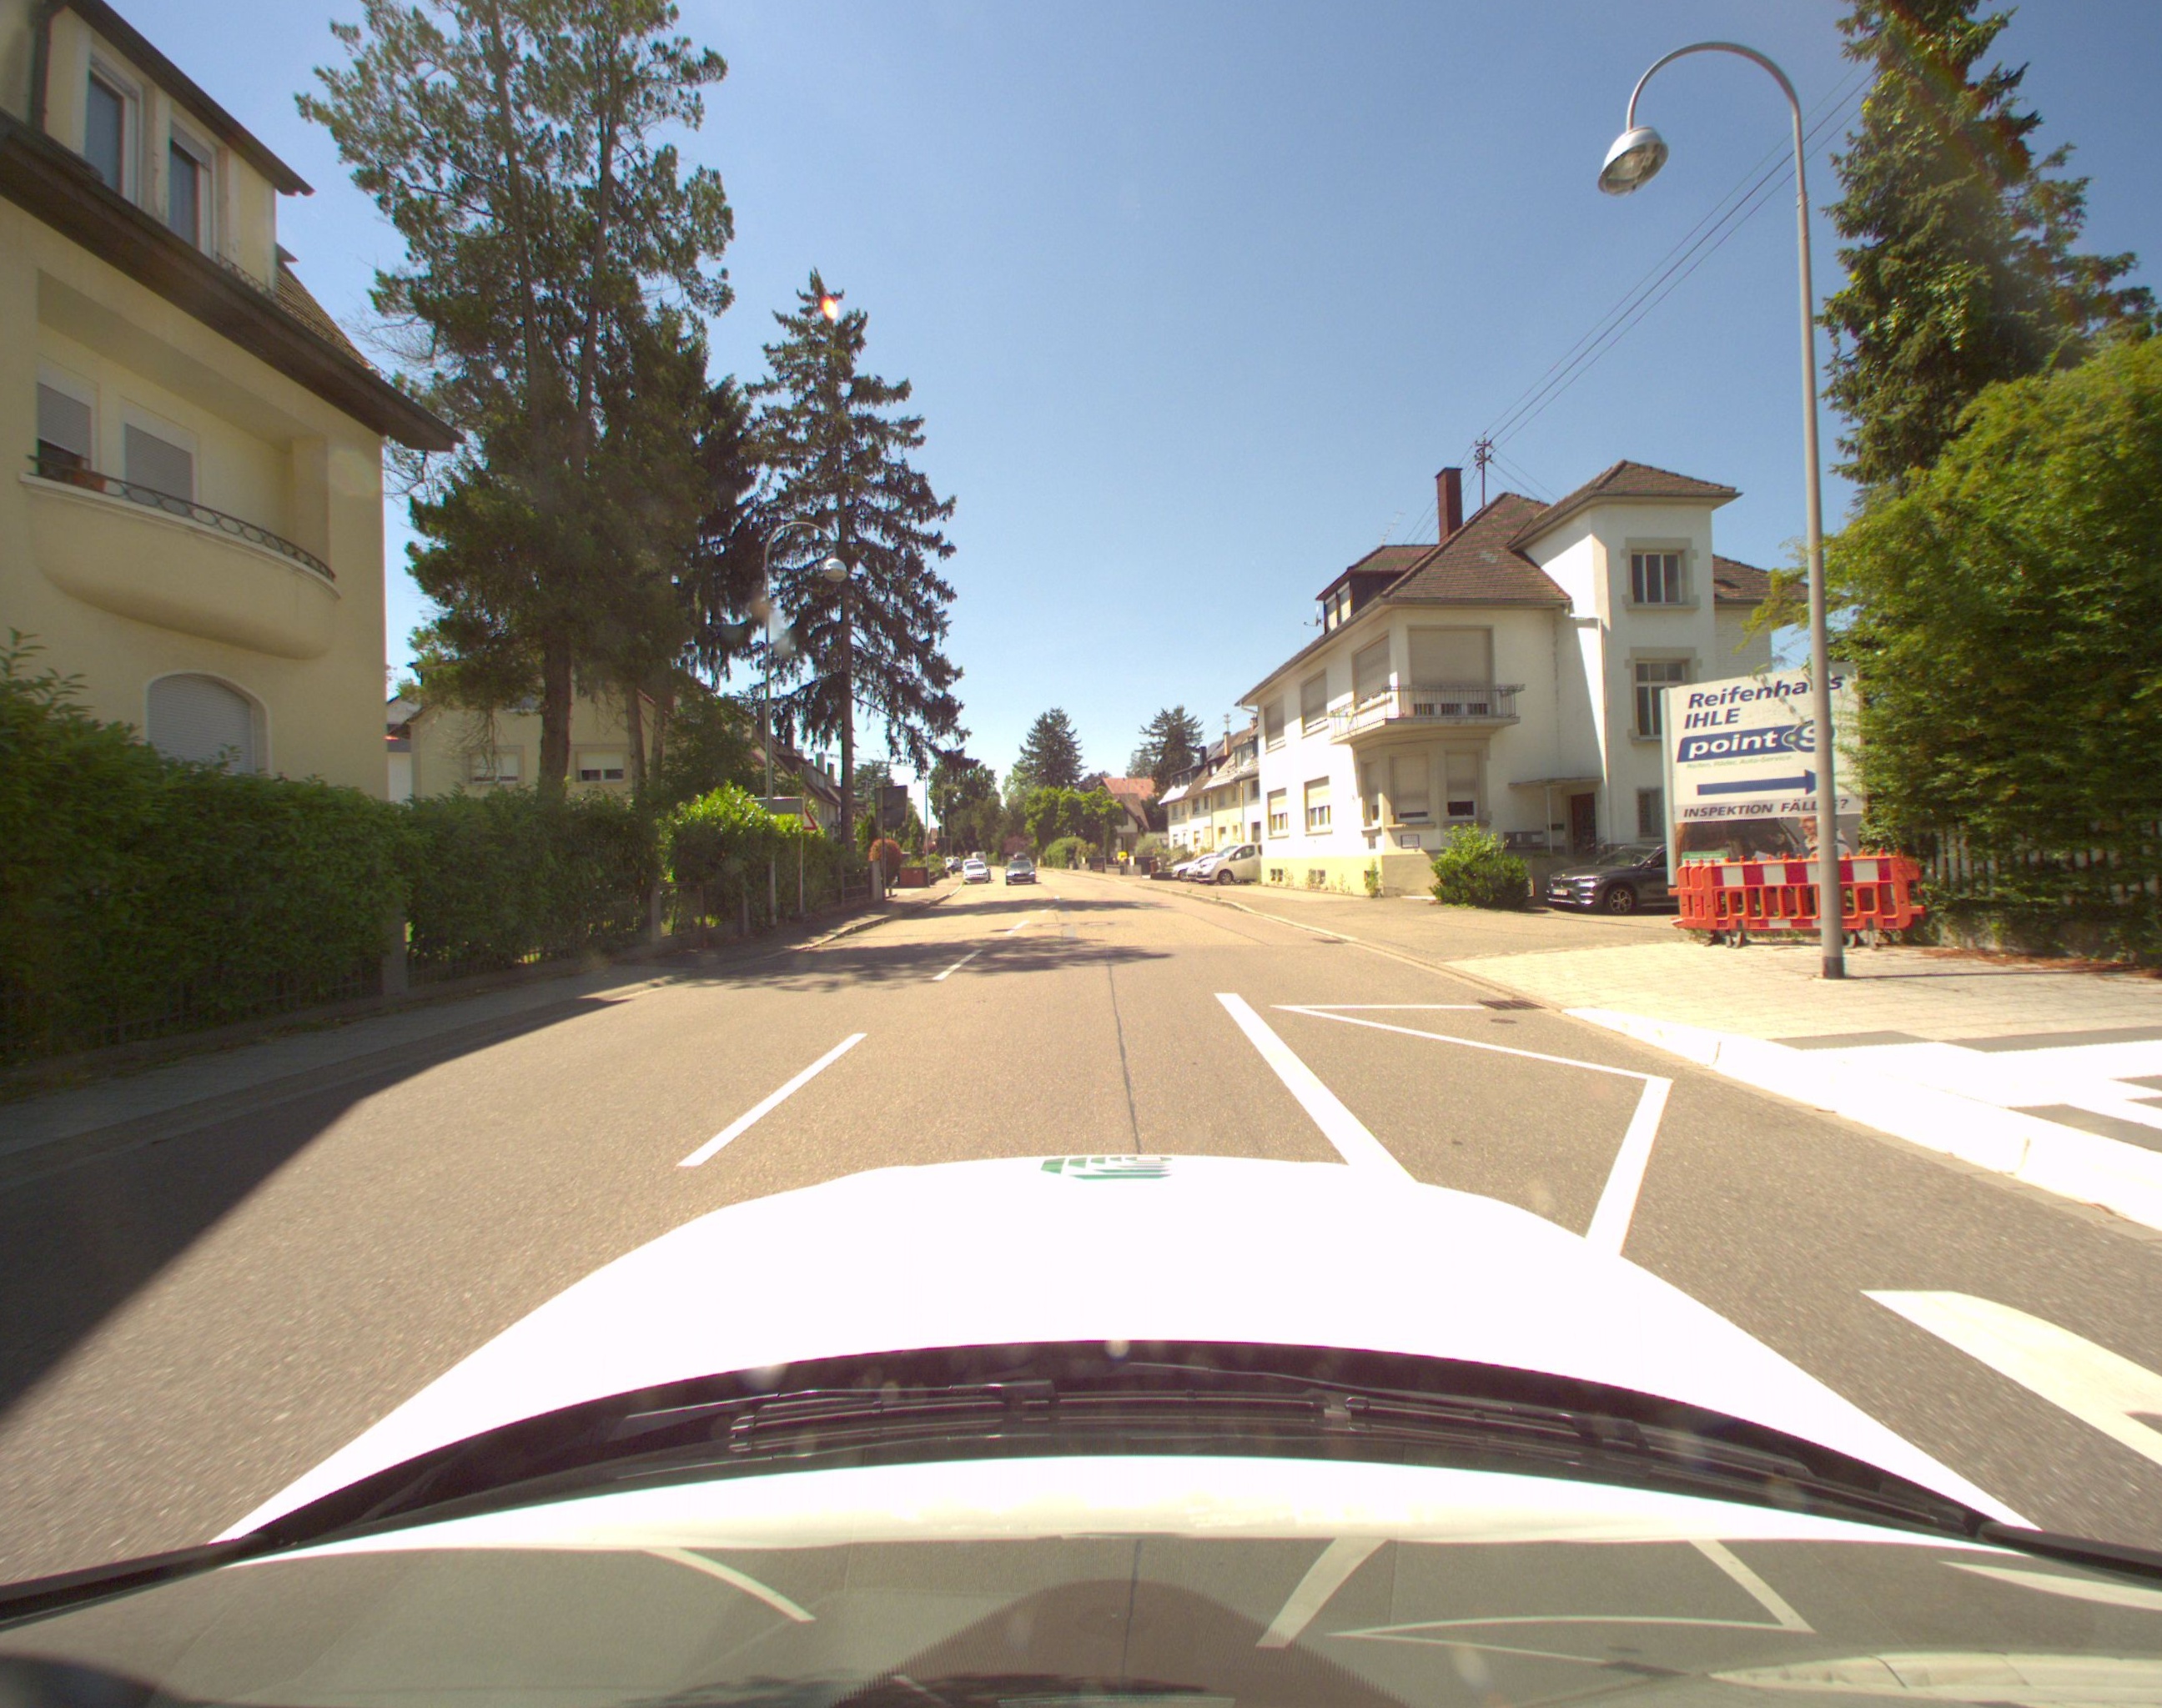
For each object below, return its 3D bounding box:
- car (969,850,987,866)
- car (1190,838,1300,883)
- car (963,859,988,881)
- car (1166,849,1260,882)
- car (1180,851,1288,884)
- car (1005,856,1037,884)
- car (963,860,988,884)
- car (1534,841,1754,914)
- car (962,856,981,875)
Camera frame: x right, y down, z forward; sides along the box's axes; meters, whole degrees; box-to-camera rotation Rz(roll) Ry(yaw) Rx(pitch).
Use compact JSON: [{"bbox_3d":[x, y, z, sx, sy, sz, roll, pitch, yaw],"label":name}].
[{"bbox_3d":[-16.379,0.667,128.984,2.147,2.315,4.827,-3,1,-15],"label":"car"},{"bbox_3d":[7.064,0.289,35.164,4.296,1.831,1.731,1,0,-14],"label":"car"},{"bbox_3d":[-8.097,1.212,62.638,1.768,1.438,4.351,-4,0,-7],"label":"car"},{"bbox_3d":[6.596,0.570,40.731,4.251,1.548,1.766,0,-2,26],"label":"car"},{"bbox_3d":[7.066,0.617,37.825,4.631,1.409,1.766,1,0,-5],"label":"car"},{"bbox_3d":[-3.577,0.944,49.028,1.802,1.488,4.381,-3,0,-4],"label":"car"},{"bbox_3d":[-7.340,1.229,56.646,1.577,1.423,3.931,-4,0,-7],"label":"car"},{"bbox_3d":[13.000,0.530,18.958,3.978,1.592,1.796,0,-1,-4],"label":"car"},{"bbox_3d":[-10.962,1.132,81.432,1.723,1.736,3.874,-4,0,-9],"label":"car"}]
